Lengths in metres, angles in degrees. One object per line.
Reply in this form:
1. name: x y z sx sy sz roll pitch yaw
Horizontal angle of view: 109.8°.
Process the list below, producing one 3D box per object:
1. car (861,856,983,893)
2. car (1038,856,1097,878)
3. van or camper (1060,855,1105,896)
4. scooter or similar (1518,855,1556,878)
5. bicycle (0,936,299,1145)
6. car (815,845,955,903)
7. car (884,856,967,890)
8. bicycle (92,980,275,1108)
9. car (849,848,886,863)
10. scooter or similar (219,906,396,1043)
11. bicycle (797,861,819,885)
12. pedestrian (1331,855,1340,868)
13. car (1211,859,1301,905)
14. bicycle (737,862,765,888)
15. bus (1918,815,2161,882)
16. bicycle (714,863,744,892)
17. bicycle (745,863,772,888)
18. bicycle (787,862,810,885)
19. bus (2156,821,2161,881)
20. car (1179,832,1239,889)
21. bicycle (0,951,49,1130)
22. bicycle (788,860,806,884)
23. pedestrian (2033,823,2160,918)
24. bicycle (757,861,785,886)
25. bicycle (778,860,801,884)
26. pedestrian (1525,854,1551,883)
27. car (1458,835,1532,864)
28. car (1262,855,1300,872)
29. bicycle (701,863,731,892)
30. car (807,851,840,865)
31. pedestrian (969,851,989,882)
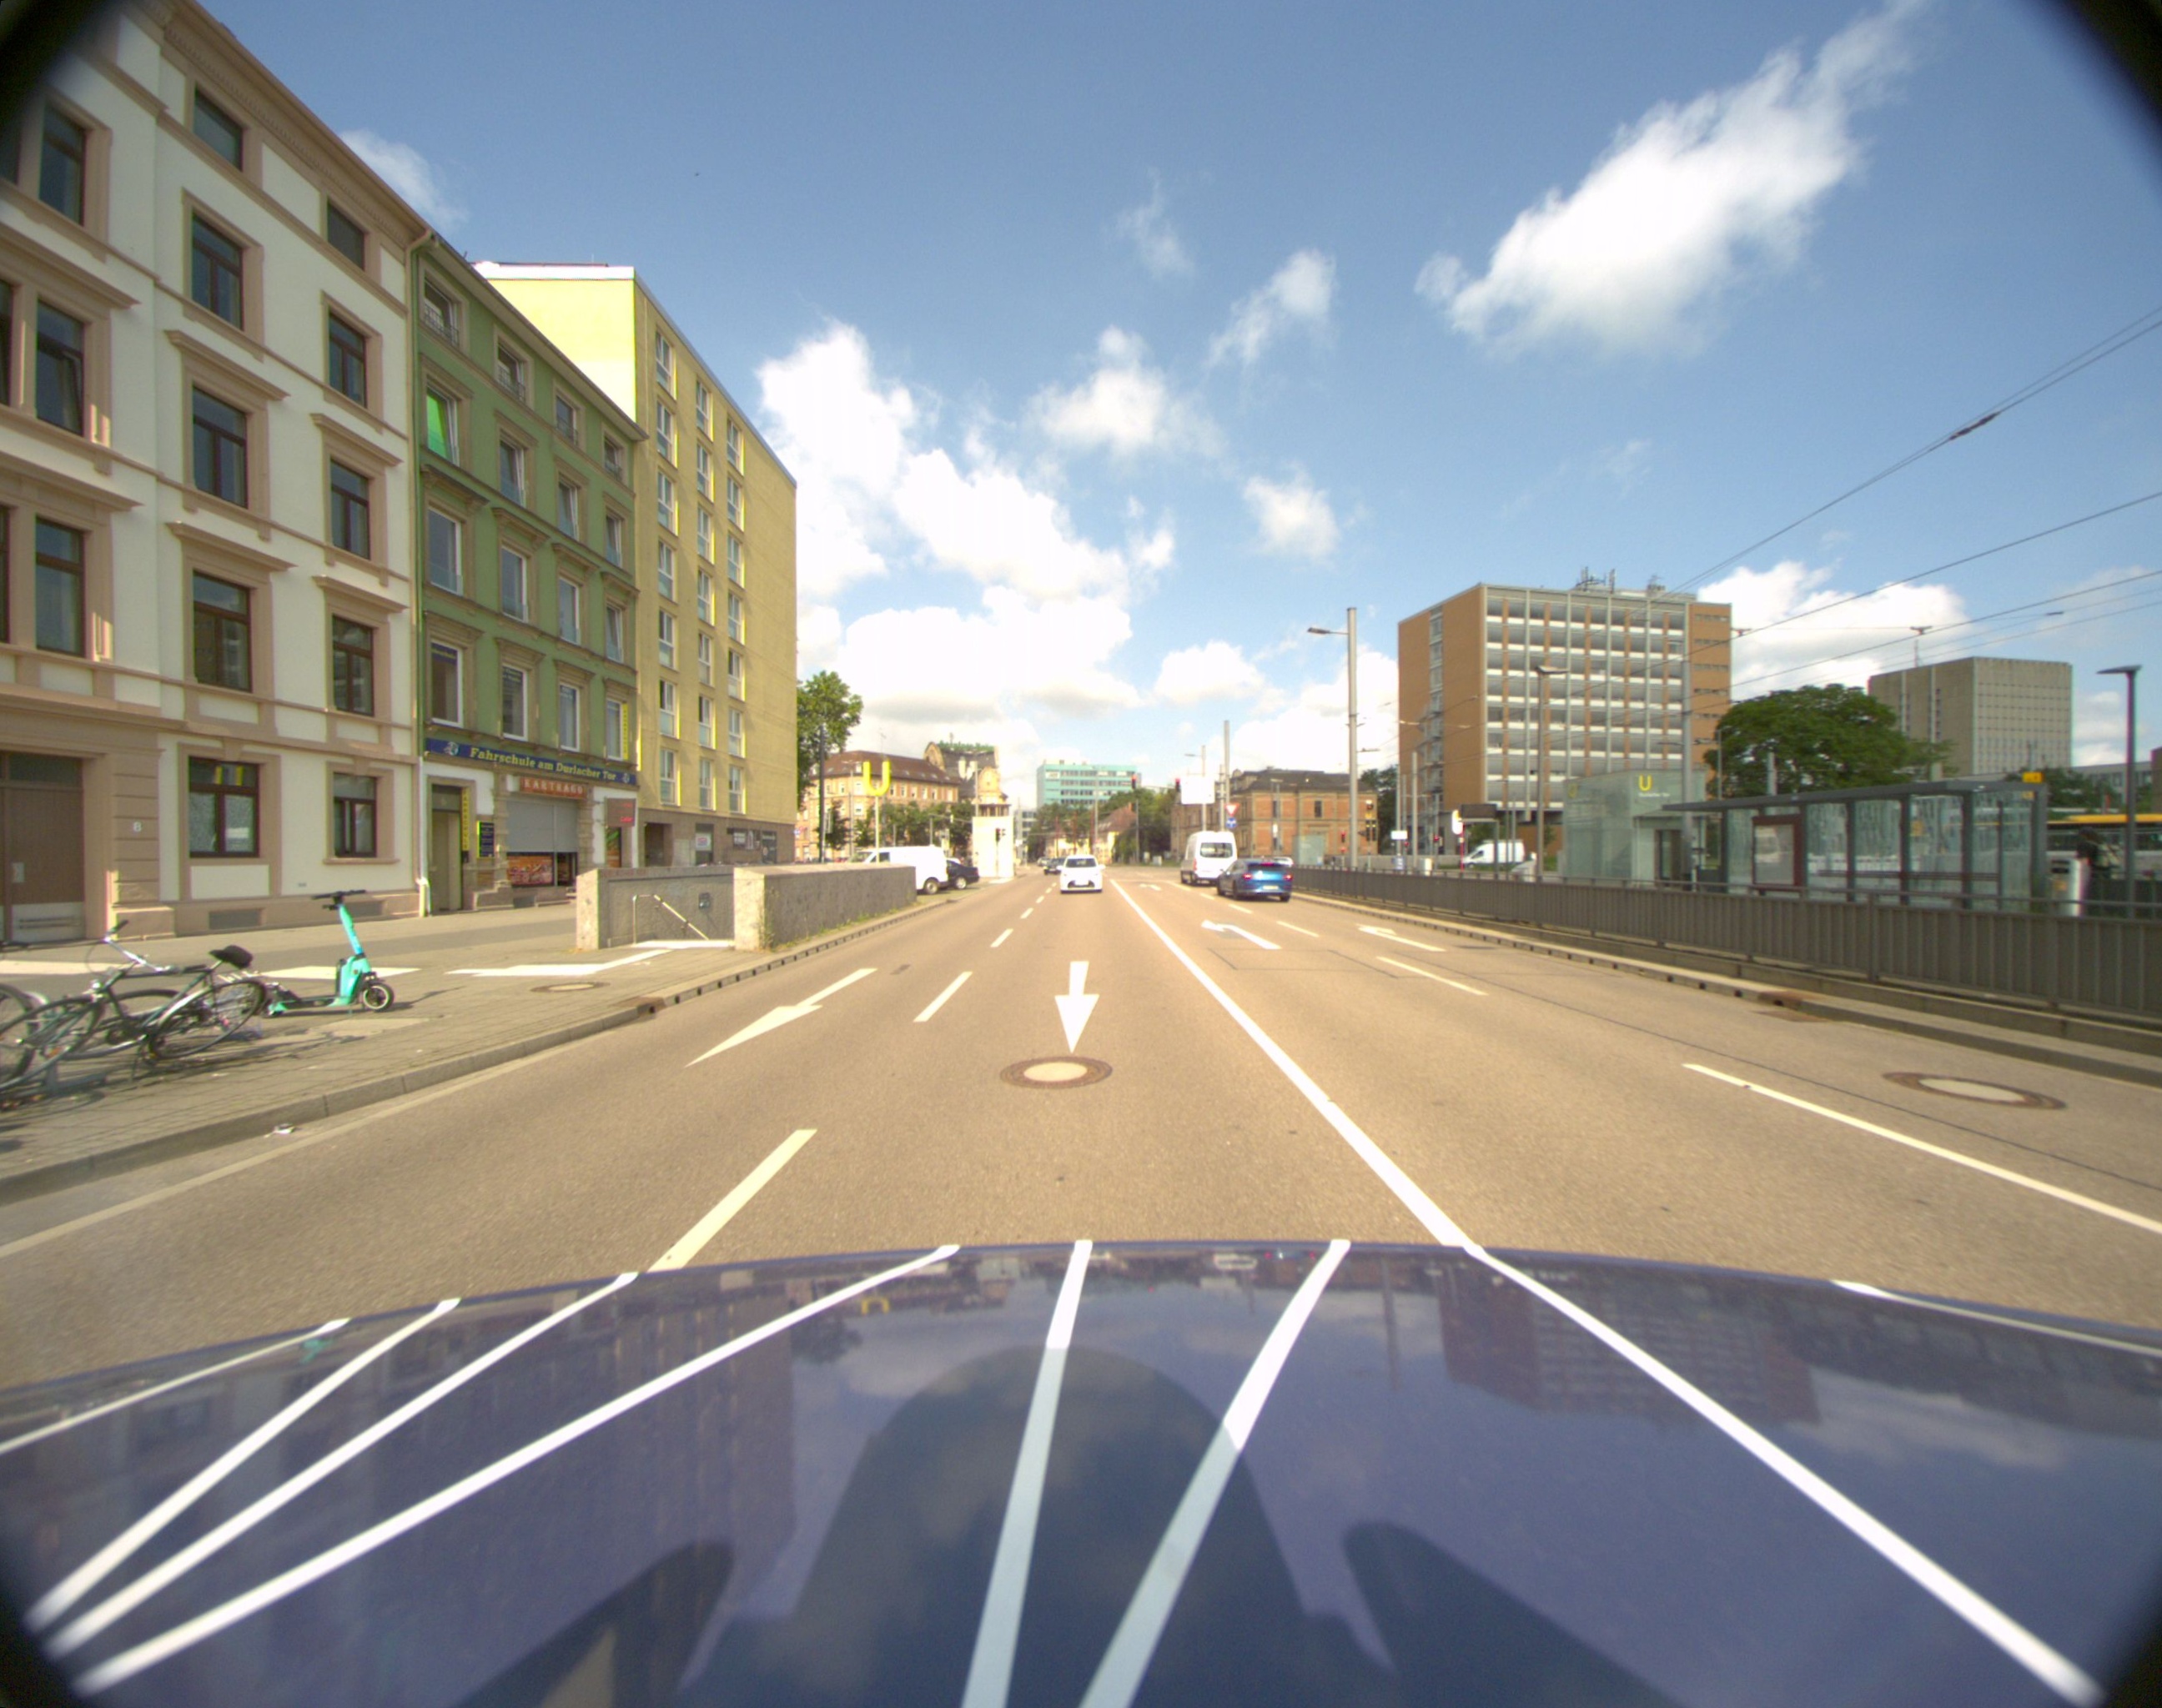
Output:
1. car: -7.056 0.862 34.022 5.074 1.460 1.885 -1 1 -41
2. car: -1.066 1.024 61.694 4.551 1.274 1.994 -6 5 -43
3. van or camper: 0.054 0.795 29.476 1.627 1.467 4.000 0 0 0
4. scooter or similar: 26.624 0.727 44.388 1.337 1.183 1.494 -2 4 3
5. bicycle: -6.433 1.169 5.175 0.372 1.065 1.764 -1 -1 0
6. car: -7.671 0.743 30.118 4.909 2.072 2.074 -2 0 -45
7. car: -7.564 0.891 37.113 3.518 1.432 1.715 -2 1 -40
8. bicycle: -7.117 1.454 6.116 0.639 0.582 1.766 0 1 -39
9. car: -25.455 0.162 90.604 3.988 1.511 2.003 0 5 33
10. scooter or similar: -7.390 1.132 7.293 1.165 1.230 0.382 1 0 -11
11. bicycle: -15.129 1.040 42.154 0.531 1.265 1.646 0 0 5
12. pedestrian: 31.680 0.976 94.503 0.763 1.579 0.774 0 1 42
13. car: 5.975 0.911 26.519 1.855 1.447 4.554 1 0 -3
14. bicycle: -15.195 0.953 35.024 0.487 1.194 1.646 0 0 5
15. bus: 44.083 -0.238 35.102 7.079 2.817 2.706 0 1 44
16. bicycle: -15.103 0.985 32.613 0.487 1.194 1.645 0 0 0
17. bicycle: -15.711 1.024 37.031 0.487 1.194 1.646 0 0 5
18. bicycle: -15.668 1.061 42.167 0.487 1.265 1.646 0 0 5
19. bus: 48.445 -0.127 30.859 5.063 2.572 2.707 0 1 43
20. car: 6.194 0.289 37.503 1.998 2.606 5.580 1 0 0
21. bicycle: -7.563 1.183 4.767 1.762 1.078 0.372 -1 -1 3
22. bicycle: -15.057 0.948 40.368 0.488 1.265 1.888 0 0 -7
23. pedestrian: 20.011 0.330 15.010 0.999 1.788 1.047 -2 -2 6
24. bicycle: -15.053 0.926 36.934 0.548 1.194 1.646 0 0 5
25. bicycle: -15.605 0.948 40.690 0.487 1.265 1.646 0 0 5
26. pedestrian: 26.710 0.843 44.390 1.094 1.679 0.931 -1 0 42
27. car: 41.425 -0.428 76.207 6.137 2.862 2.489 0 1 14
28. car: 23.318 1.117 88.464 4.131 1.763 2.001 -1 4 19
29. bicycle: -15.638 1.009 32.575 0.487 1.194 1.645 0 0 0
30. car: -32.241 0.510 95.163 3.987 1.544 2.003 3 5 37
31. pedestrian: -6.066 0.710 45.190 0.996 1.750 0.784 -3 4 -24
